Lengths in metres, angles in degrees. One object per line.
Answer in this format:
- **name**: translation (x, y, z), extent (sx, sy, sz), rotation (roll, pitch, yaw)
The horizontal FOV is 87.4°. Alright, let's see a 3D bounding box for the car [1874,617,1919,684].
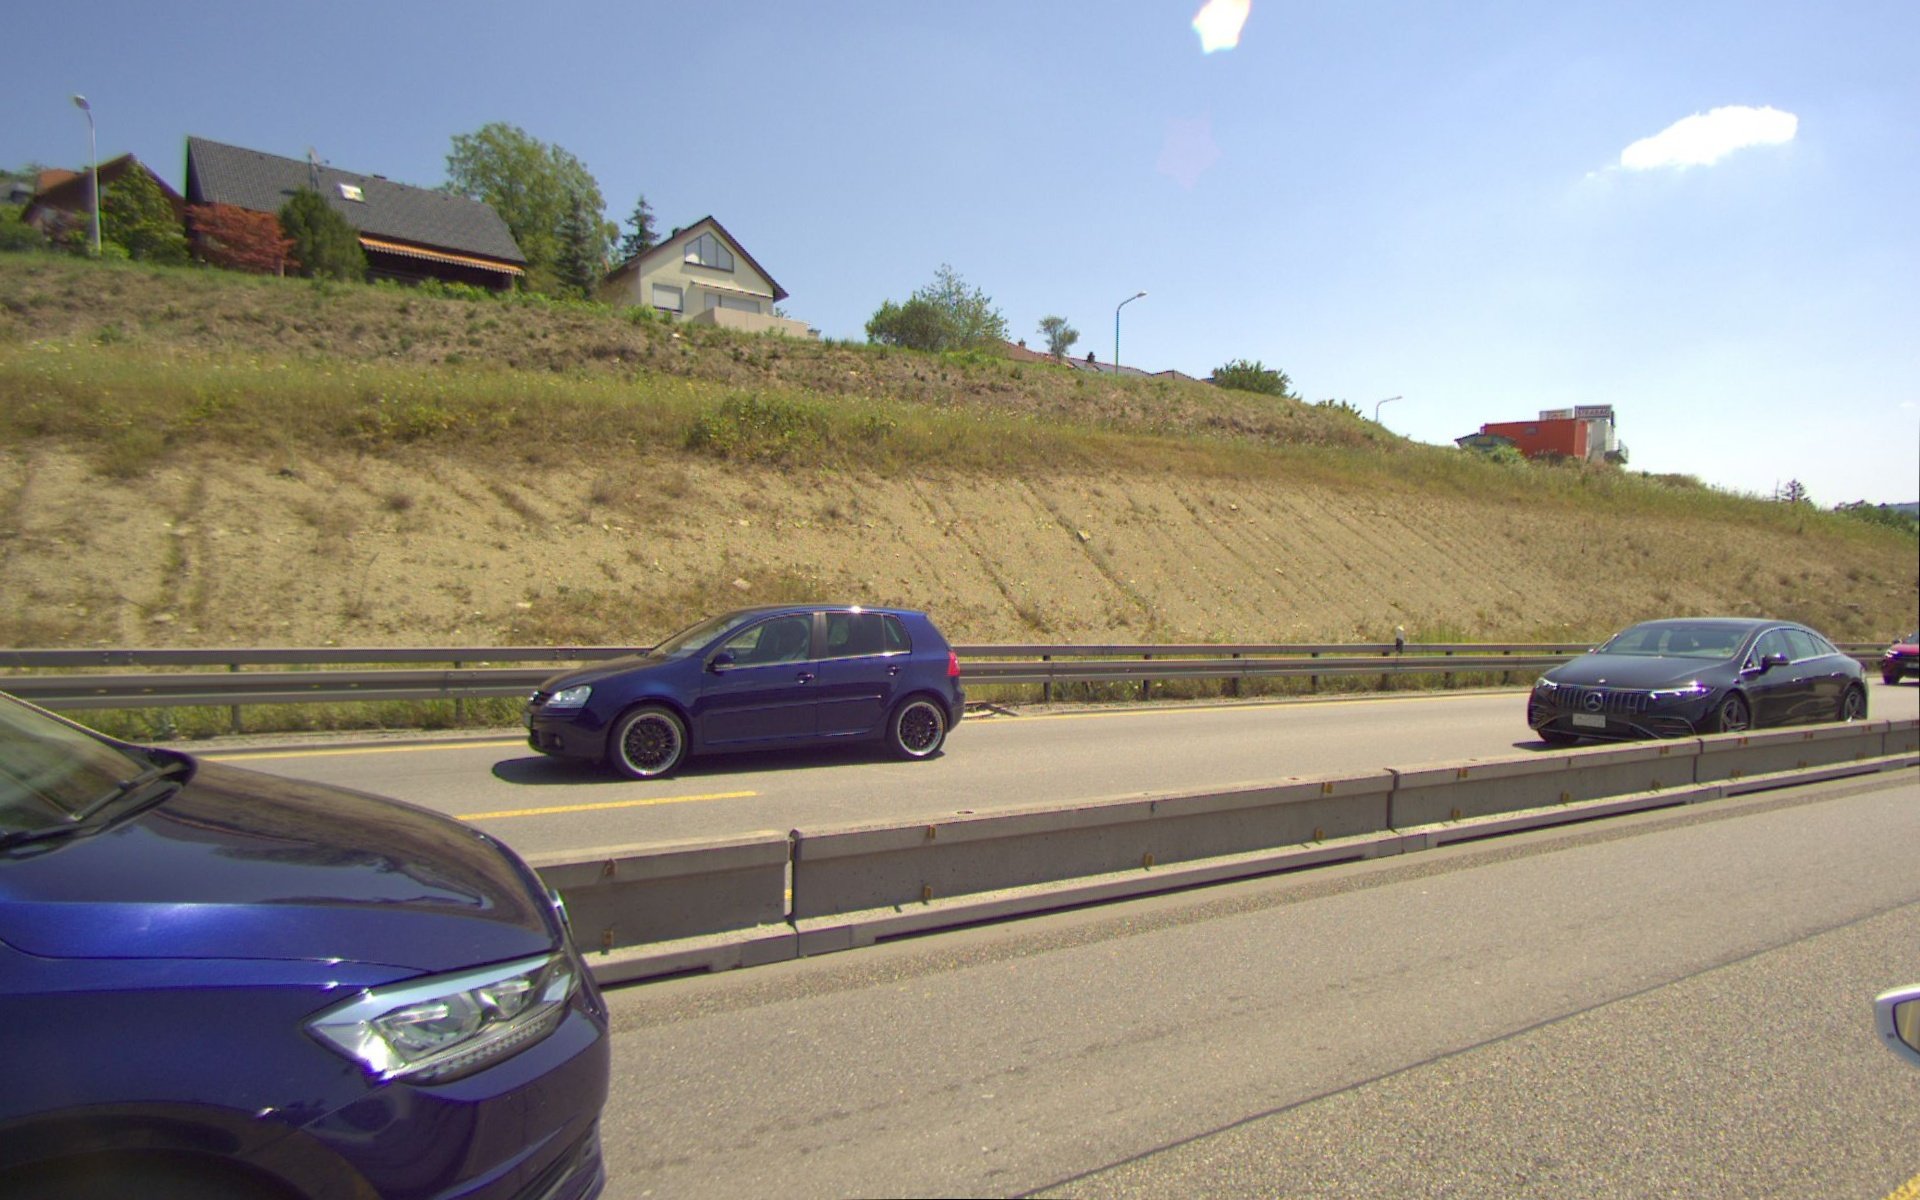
- **car**: translation (25.539, 1.284, 25.776), extent (5.067, 1.606, 1.676), rotation (1, 0, -31)

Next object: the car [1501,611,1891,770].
- **car**: translation (8.899, 0.950, 12.030), extent (5.031, 1.519, 1.945), rotation (1, 0, -31)

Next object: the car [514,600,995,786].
- **car**: translation (-1.888, 0.759, 9.607), extent (4.193, 1.437, 1.701), rotation (1, 0, -31)

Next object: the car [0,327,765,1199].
- **car**: translation (-2.768, 0.507, 1.410), extent (4.597, 1.741, 1.767), rotation (0, 1, -30)
